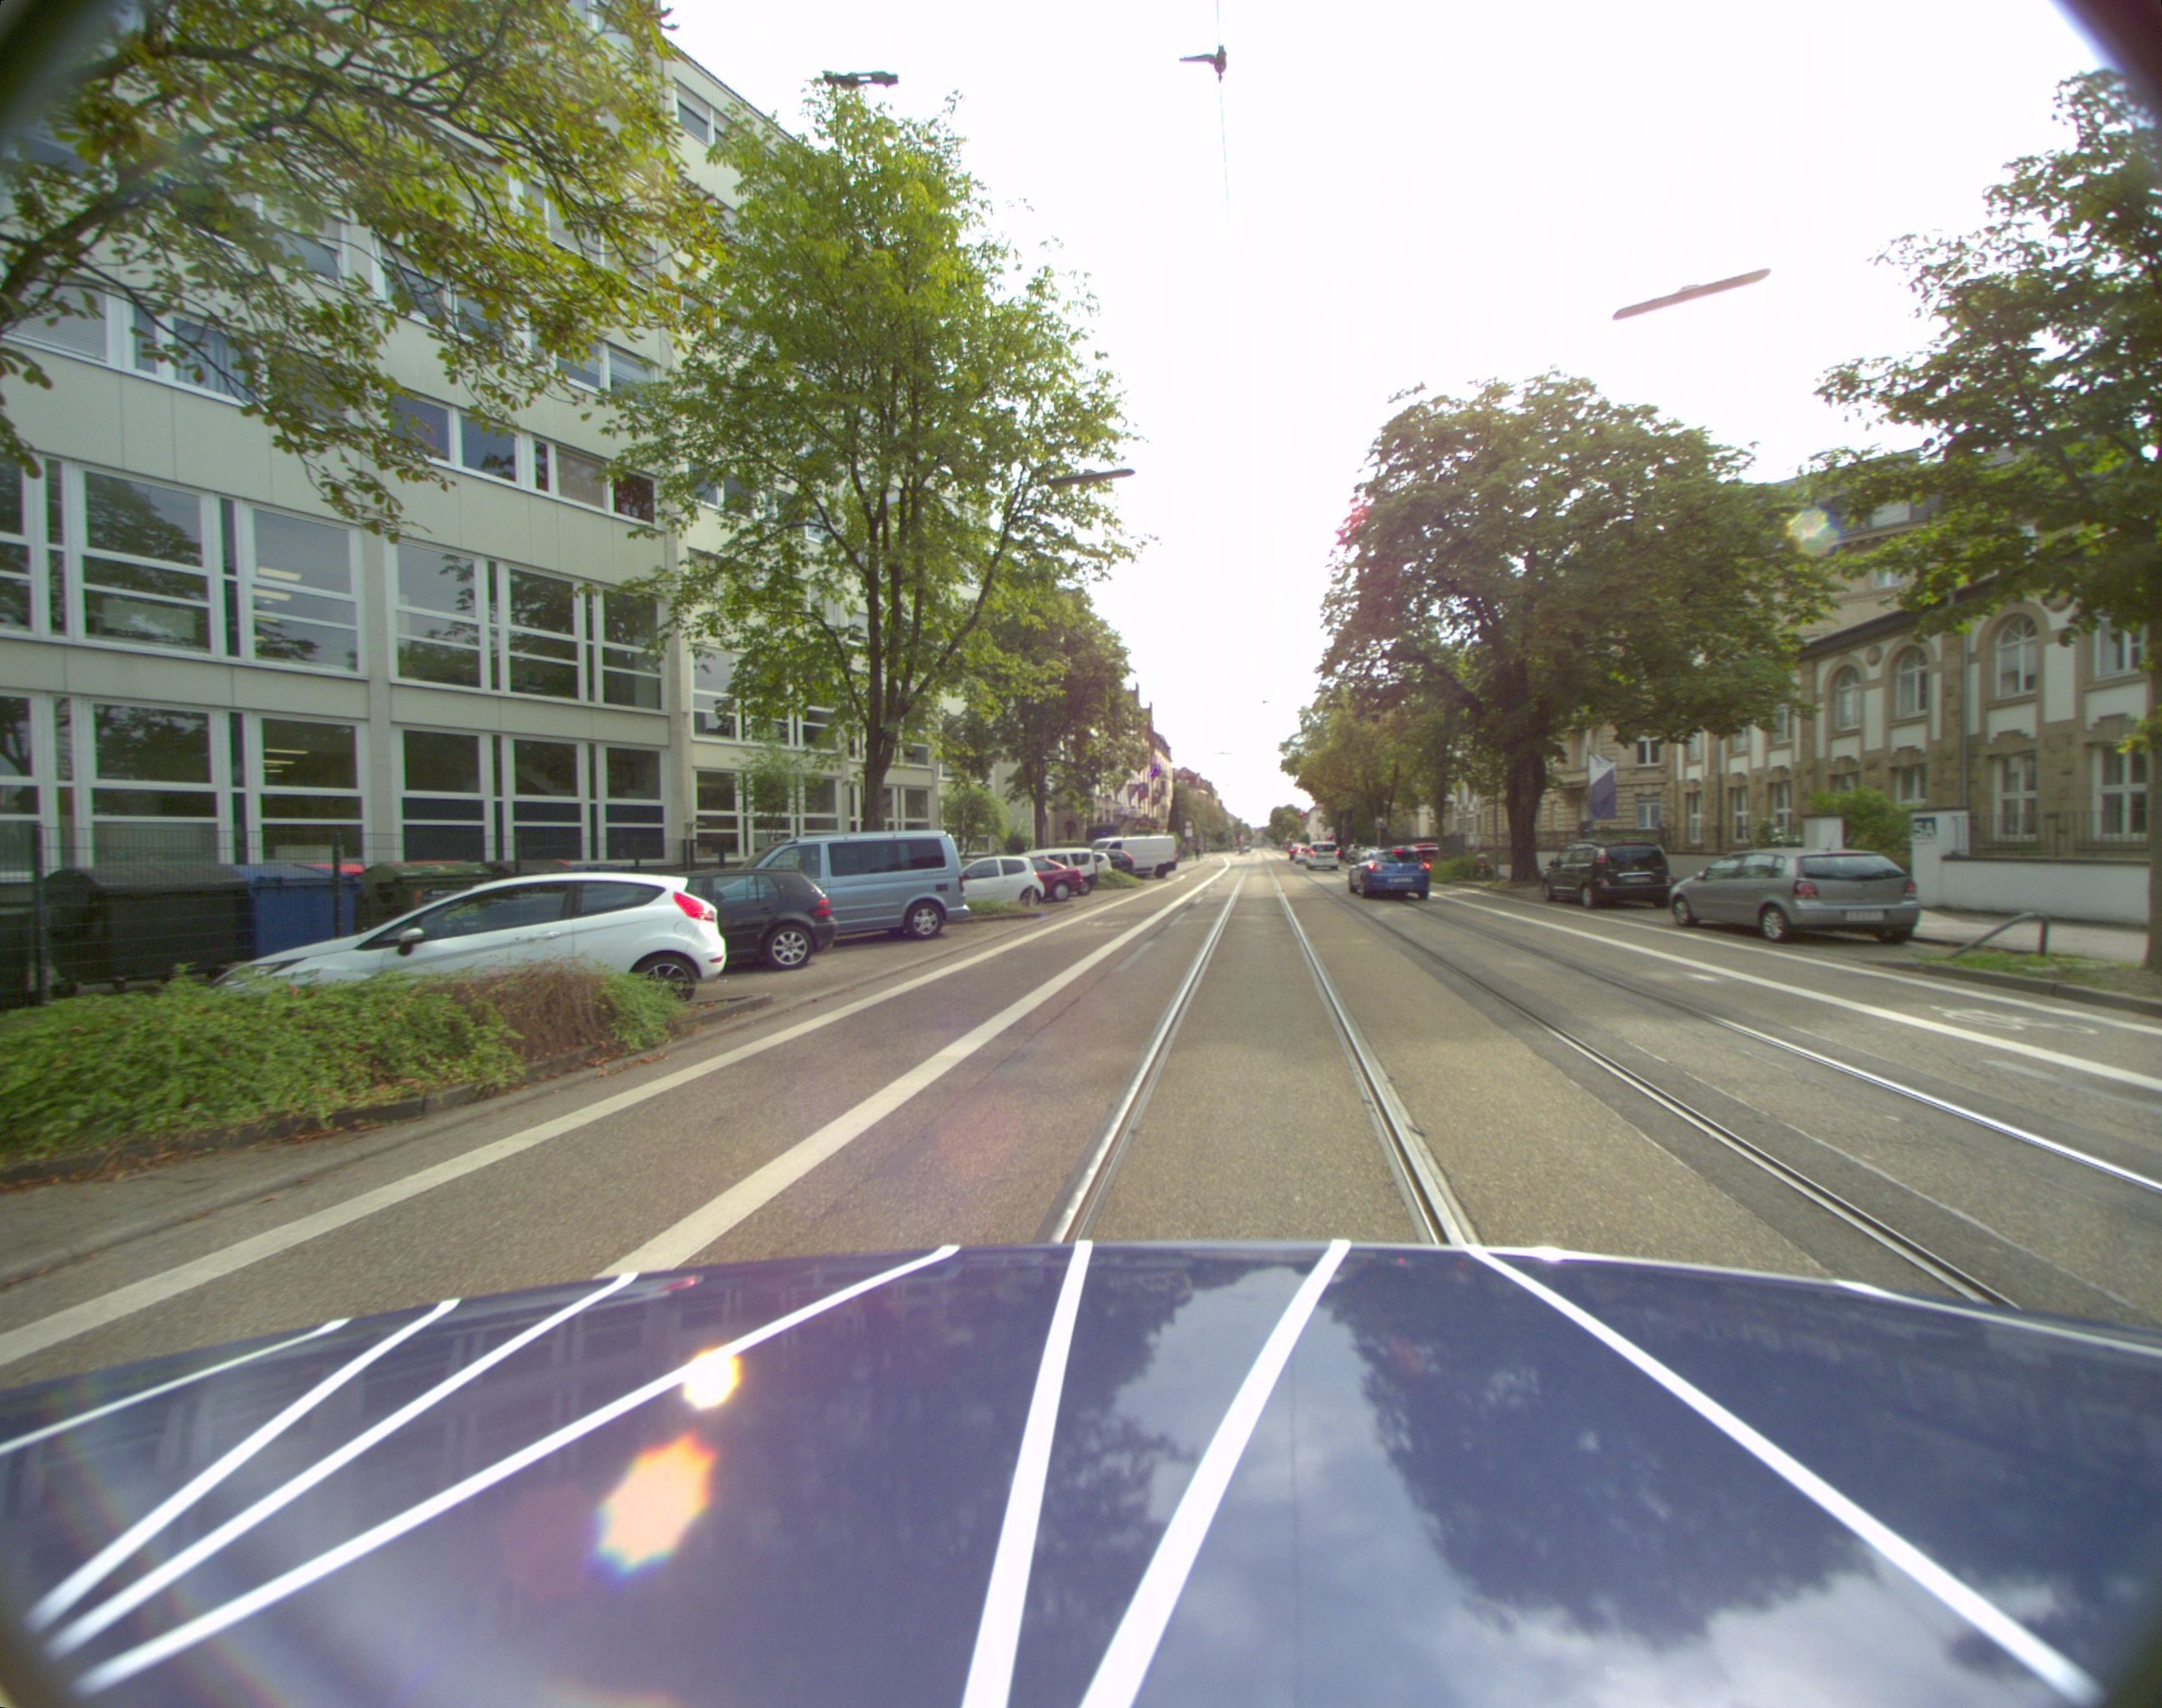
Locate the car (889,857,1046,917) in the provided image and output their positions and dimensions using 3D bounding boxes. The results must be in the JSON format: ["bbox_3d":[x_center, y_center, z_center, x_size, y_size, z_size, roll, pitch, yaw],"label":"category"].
[{"bbox_3d":[-2.958,0.810,20.015,3.651,1.322,1.763,-2,2,-33],"label":"car"}]

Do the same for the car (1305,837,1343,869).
[{"bbox_3d":[15.257,-0.098,47.822,1.735,1.873,4.381,-1,1,11],"label":"car"}]

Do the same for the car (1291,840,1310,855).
[{"bbox_3d":[26.359,-0.786,91.355,1.798,1.813,4.682,-1,1,12],"label":"car"}]

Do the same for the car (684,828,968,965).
[{"bbox_3d":[-4.452,0.599,13.459,4.353,2.052,1.995,-2,1,-33],"label":"car"}]

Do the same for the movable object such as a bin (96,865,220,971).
[{"bbox_3d":[-14.783,0.972,12.217,1.176,1.559,1.177,0,1,41],"label":"movable object such as a bin"}]

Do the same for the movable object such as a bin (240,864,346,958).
[{"bbox_3d":[-13.718,0.938,13.234,1.176,1.505,1.177,0,1,41],"label":"movable object such as a bin"}]

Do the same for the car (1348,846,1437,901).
[{"bbox_3d":[9.155,0.504,22.663,1.735,1.488,4.382,0,1,12],"label":"car"}]

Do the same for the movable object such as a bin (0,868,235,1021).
[{"bbox_3d":[-10.996,0.946,8.597,1.328,1.521,1.417,-1,1,16],"label":"movable object such as a bin"}]

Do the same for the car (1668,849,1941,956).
[{"bbox_3d":[11.579,0.685,12.521,1.630,1.456,3.577,-1,1,12],"label":"car"}]

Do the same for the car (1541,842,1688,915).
[{"bbox_3d":[13.102,0.530,18.939,1.657,1.624,3.728,-1,1,12],"label":"car"}]

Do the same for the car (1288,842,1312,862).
[{"bbox_3d":[18.472,-0.190,64.263,1.734,1.603,4.338,0,1,13],"label":"car"}]

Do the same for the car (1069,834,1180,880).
[{"bbox_3d":[2.319,0.112,39.663,5.447,2.163,2.143,-2,2,-29],"label":"car"}]

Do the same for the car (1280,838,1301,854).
[{"bbox_3d":[22.204,-0.818,80.741,1.850,1.603,4.337,-1,1,12],"label":"car"}]

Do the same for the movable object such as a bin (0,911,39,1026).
[{"bbox_3d":[-10.957,1.137,7.380,0.785,1.099,0.744,-1,1,18],"label":"movable object such as a bin"}]

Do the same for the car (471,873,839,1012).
[{"bbox_3d":[-5.555,1.029,10.253,3.979,1.379,1.810,-2,0,-33],"label":"car"}]

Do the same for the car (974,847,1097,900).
[{"bbox_3d":[-1.545,0.596,26.001,3.775,1.609,1.810,-2,2,-29],"label":"car"}]

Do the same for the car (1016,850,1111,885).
[{"bbox_3d":[-0.740,0.523,32.338,3.651,1.322,1.763,-2,2,-33],"label":"car"}]

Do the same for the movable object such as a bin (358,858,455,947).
[{"bbox_3d":[-12.818,0.875,14.441,1.176,1.559,1.177,0,1,41],"label":"movable object such as a bin"}]

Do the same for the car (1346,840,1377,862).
[{"bbox_3d":[22.123,-0.236,60.033,1.657,1.624,3.909,-1,1,12],"label":"car"}]

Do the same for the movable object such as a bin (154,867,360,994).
[{"bbox_3d":[-10.819,0.954,10.037,1.333,1.495,1.339,-1,1,16],"label":"movable object such as a bin"}]

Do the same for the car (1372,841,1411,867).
[{"bbox_3d":[20.256,-0.007,49.651,1.657,1.592,3.909,-1,1,12],"label":"car"}]

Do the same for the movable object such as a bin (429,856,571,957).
[{"bbox_3d":[-9.874,0.858,12.977,1.333,1.587,1.355,-1,1,16],"label":"movable object such as a bin"}]

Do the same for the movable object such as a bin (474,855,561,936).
[{"bbox_3d":[-11.660,0.817,15.733,1.176,1.559,1.177,0,1,41],"label":"movable object such as a bin"}]

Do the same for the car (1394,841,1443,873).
[{"bbox_3d":[18.195,0.135,41.121,1.657,1.624,3.909,-1,1,12],"label":"car"}]

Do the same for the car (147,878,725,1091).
[{"bbox_3d":[-5.726,1.022,7.380,3.868,1.385,1.630,-2,1,-34],"label":"car"}]

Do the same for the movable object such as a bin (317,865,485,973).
[{"bbox_3d":[-10.299,0.939,11.560,1.333,1.494,1.355,-1,1,16],"label":"movable object such as a bin"}]

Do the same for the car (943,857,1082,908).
[{"bbox_3d":[-2.063,0.811,23.113,3.775,1.331,1.810,-2,2,-29],"label":"car"}]

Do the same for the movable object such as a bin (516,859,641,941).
[{"bbox_3d":[-9.546,0.842,14.495,1.333,1.450,1.401,-1,1,16],"label":"movable object such as a bin"}]

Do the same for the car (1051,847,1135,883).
[{"bbox_3d":[0.539,0.502,36.301,3.647,1.580,1.765,-1,2,-14],"label":"car"}]

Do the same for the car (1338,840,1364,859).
[{"bbox_3d":[23.836,-0.431,67.151,1.657,1.624,3.909,-1,1,12],"label":"car"}]
